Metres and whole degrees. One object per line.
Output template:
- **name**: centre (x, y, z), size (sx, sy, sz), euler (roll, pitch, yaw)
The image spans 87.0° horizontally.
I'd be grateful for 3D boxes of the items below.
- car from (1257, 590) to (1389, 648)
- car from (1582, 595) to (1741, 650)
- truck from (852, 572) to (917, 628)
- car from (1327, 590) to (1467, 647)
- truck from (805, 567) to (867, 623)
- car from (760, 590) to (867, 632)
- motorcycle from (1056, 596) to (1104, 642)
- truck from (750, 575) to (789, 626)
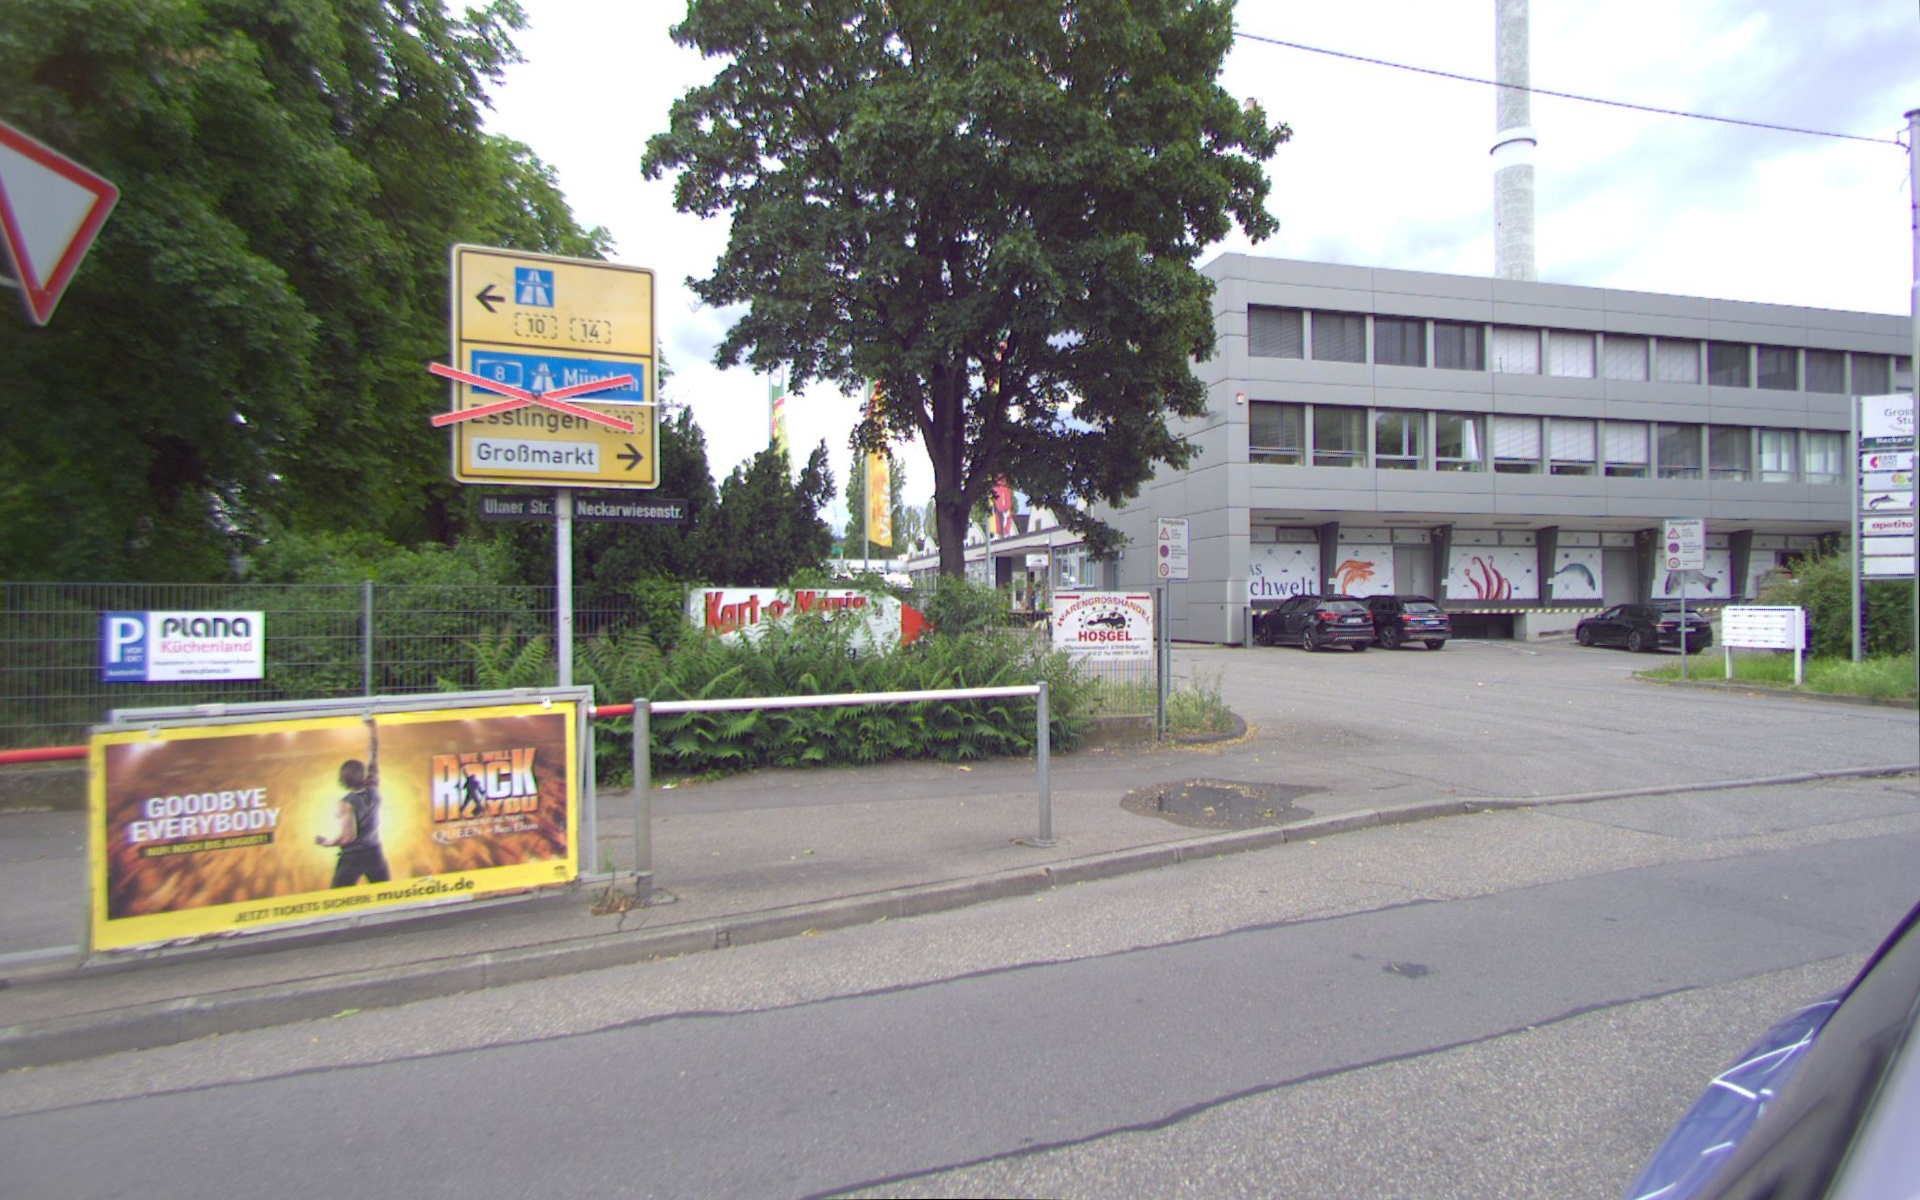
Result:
- **car**: centre (11.106, 0.527, 31.338), size (1.801, 1.638, 4.474), euler (0, 1, -11)
- **car**: centre (21.981, 0.646, 32.004), size (2.015, 1.463, 4.823), euler (0, 2, 5)
- **truck**: centre (-6.363, 0.090, 82.032), size (2.812, 4.077, 15.879), euler (0, -1, -13)
- **car**: centre (13.708, 0.527, 32.069), size (1.800, 1.638, 4.432), euler (0, 1, -12)
- **truck**: centre (-10.130, -0.296, 80.946), size (2.792, 3.984, 15.758), euler (0, -1, -15)
- **car**: centre (-9.968, 0.752, 68.871), size (7.004, 2.767, 2.248), euler (0, -1, -13)
- **motorcycle**: centre (4.555, 0.709, 38.293), size (1.182, 1.676, 2.875), euler (0, -1, 20)
- **truck**: centre (-16.714, 0.038, 88.387), size (2.937, 4.219, 9.206), euler (0, 0, -14)
